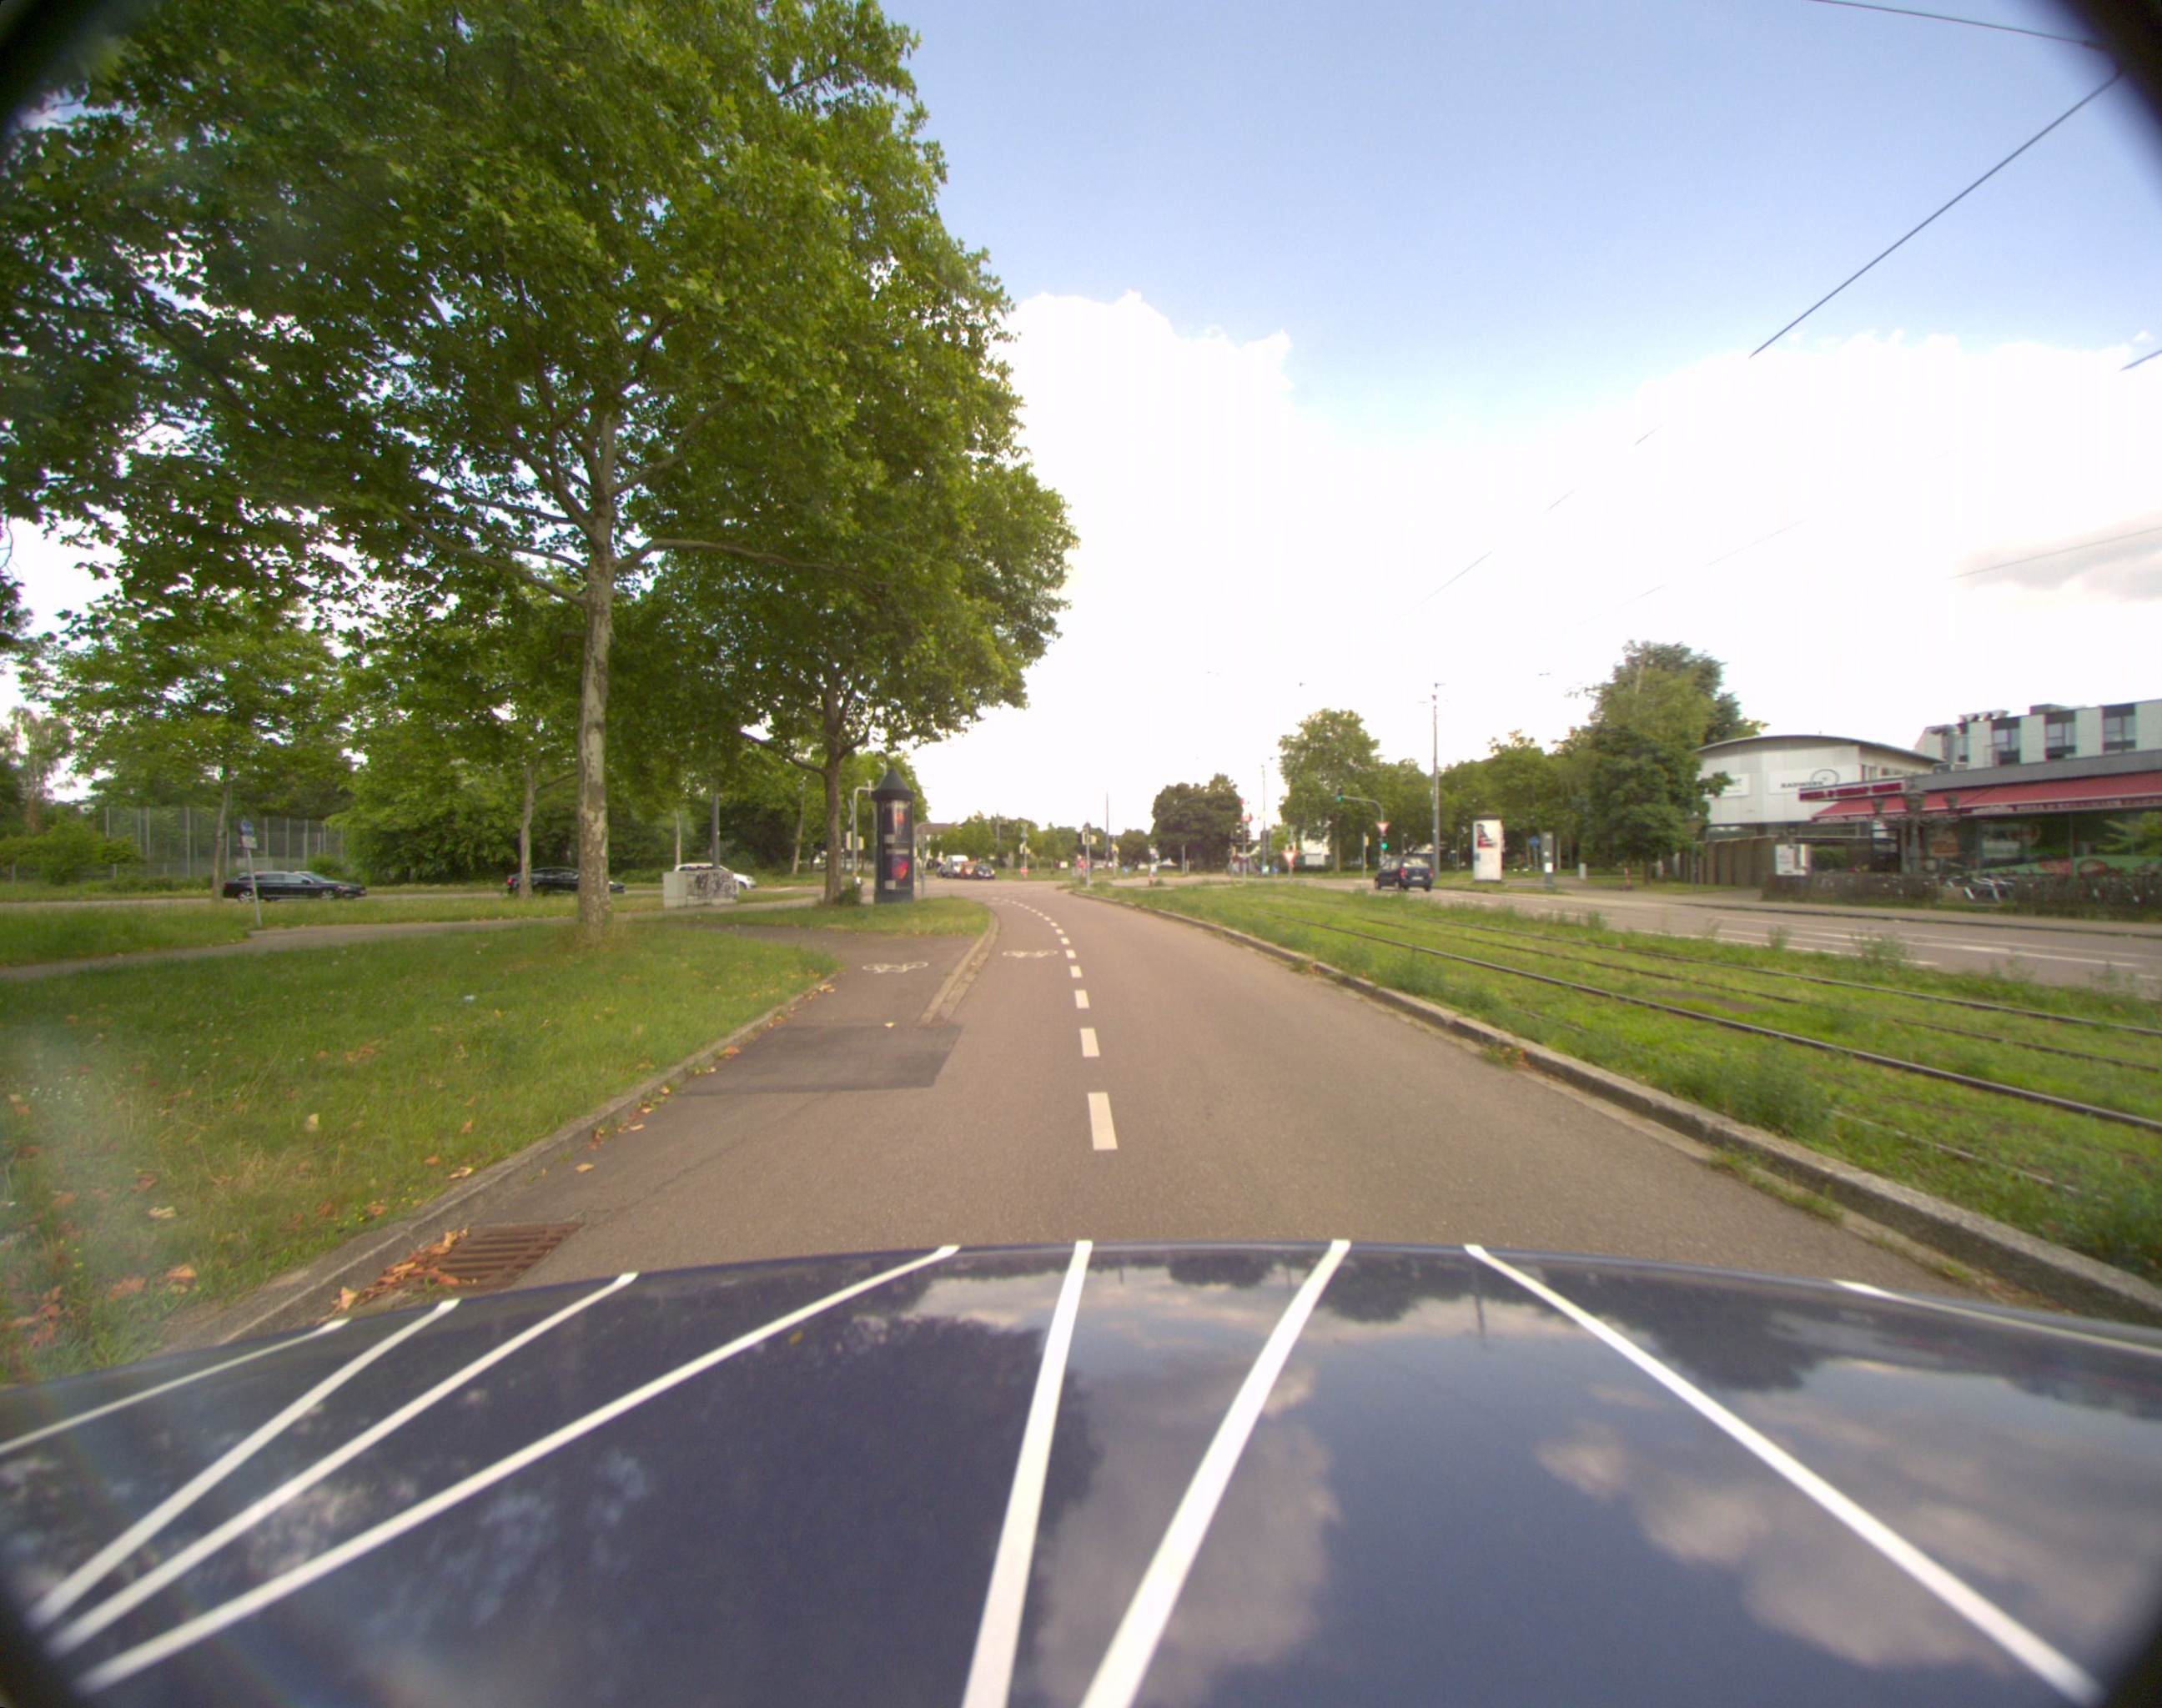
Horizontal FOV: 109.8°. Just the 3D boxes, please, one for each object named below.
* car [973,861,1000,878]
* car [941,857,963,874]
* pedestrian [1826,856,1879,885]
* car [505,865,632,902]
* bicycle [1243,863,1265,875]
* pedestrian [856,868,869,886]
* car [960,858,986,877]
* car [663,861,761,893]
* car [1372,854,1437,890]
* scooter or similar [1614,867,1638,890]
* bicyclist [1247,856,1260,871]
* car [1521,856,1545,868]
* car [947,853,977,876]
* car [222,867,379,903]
[{"bbox_3d":[-9.362,1.497,74.788,1.798,1.530,3.994,-1,0,-19],"label":"car"},{"bbox_3d":[-15.598,1.383,92.047,1.798,1.924,4.361,-1,0,-20],"label":"car"},{"bbox_3d":[30.741,0.655,30.279,1.156,1.139,0.932,0,0,1],"label":"pedestrian"},{"bbox_3d":[-24.439,1.354,36.474,4.691,1.601,1.996,0,1,-21],"label":"car"},{"bbox_3d":[16.561,1.458,72.915,0.806,1.053,2.065,-1,-2,-32],"label":"bicycle"},{"bbox_3d":[-12.890,1.325,44.793,0.723,1.028,0.900,-1,0,-17],"label":"pedestrian"},{"bbox_3d":[-11.459,1.420,80.507,1.798,1.924,4.361,-1,0,-20],"label":"car"},{"bbox_3d":[-20.329,1.252,42.093,4.692,1.601,1.996,0,1,-21],"label":"car"},{"bbox_3d":[15.472,0.825,36.518,1.783,1.617,3.496,0,0,2],"label":"car"},{"bbox_3d":[25.106,1.099,35.019,0.427,1.027,1.224,-1,0,10],"label":"scooter or similar"},{"bbox_3d":[16.549,0.930,72.913,0.806,1.461,0.830,-1,-2,-32],"label":"bicyclist"},{"bbox_3d":[57.439,1.044,96.572,3.865,1.514,1.694,0,0,-44],"label":"car"},{"bbox_3d":[-13.612,1.160,86.678,2.242,2.492,5.716,-1,0,-21],"label":"car"},{"bbox_3d":[-36.586,1.422,35.794,4.692,1.504,1.996,0,1,-21],"label":"car"}]
